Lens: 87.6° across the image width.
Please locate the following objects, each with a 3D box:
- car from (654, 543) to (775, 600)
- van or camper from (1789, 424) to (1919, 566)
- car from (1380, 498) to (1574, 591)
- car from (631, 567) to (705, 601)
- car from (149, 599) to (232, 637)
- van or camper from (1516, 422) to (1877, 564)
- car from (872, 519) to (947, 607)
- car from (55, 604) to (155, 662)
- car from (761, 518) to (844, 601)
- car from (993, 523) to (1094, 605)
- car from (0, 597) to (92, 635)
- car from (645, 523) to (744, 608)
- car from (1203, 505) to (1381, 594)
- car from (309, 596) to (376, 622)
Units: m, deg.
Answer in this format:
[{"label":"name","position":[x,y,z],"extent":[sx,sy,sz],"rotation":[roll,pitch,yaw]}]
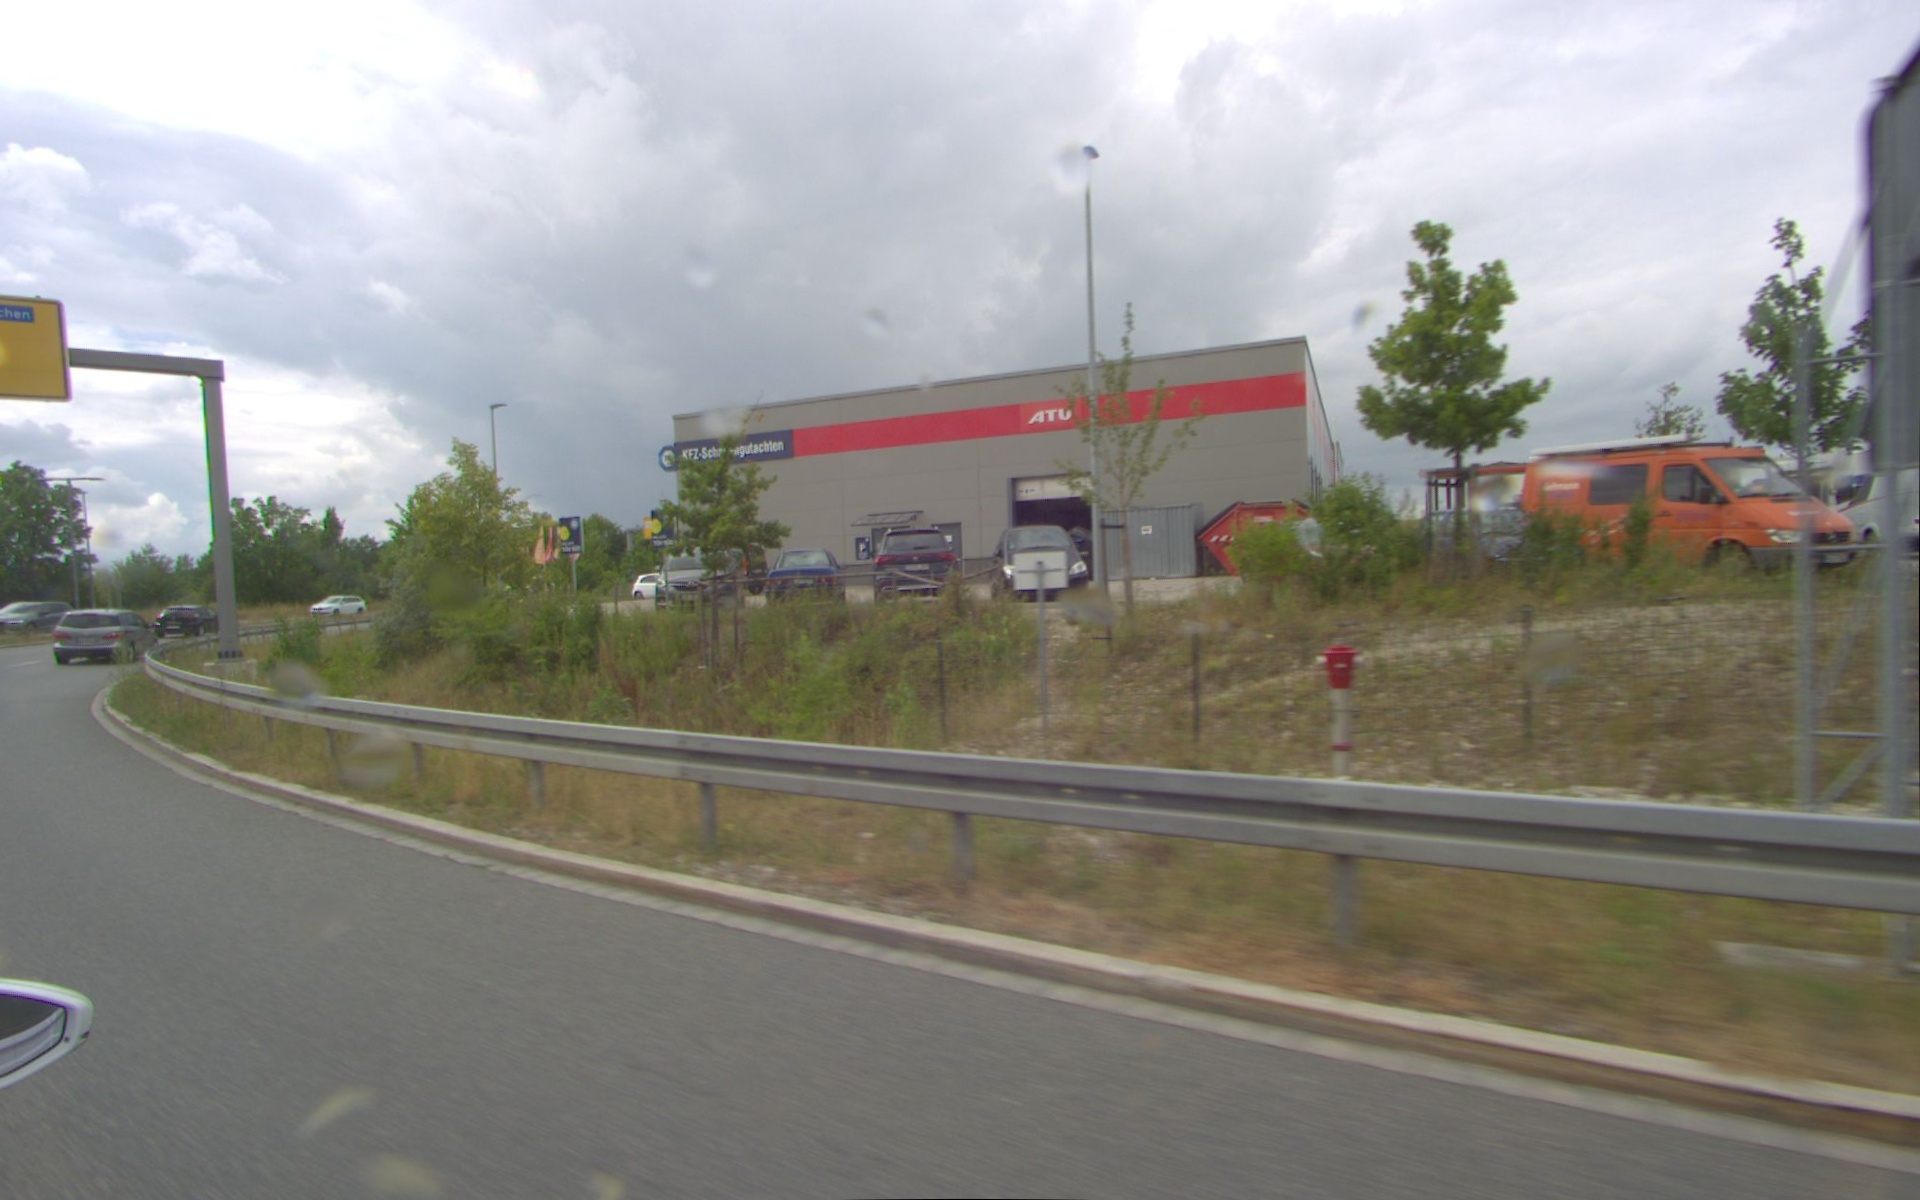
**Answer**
[{"label":"car","position":[-8.923,-1.036,36.426],"extent":[3.903,1.837,1.699],"rotation":[-2,4,22]},{"label":"van or camper","position":[24.293,-2.545,25.628],"extent":[2.450,3.222,7.714],"rotation":[-1,2,22]},{"label":"car","position":[8.795,-0.942,17.327],"extent":[1.472,1.401,3.304],"rotation":[-2,3,-4]},{"label":"car","position":[-15.918,-0.877,54.679],"extent":[3.568,1.559,1.638],"rotation":[-3,1,23]},{"label":"car","position":[-35.419,0.804,46.183],"extent":[1.842,1.626,3.727],"rotation":[-1,0,-18]},{"label":"van or camper","position":[12.042,-1.657,16.852],"extent":[1.782,2.025,4.661],"rotation":[-1,3,-18]},{"label":"car","position":[-1.121,-0.712,21.747],"extent":[1.489,1.674,3.735],"rotation":[0,-1,-4]},{"label":"car","position":[-26.404,0.985,31.057],"extent":[1.748,1.638,3.899],"rotation":[-1,0,-32]},{"label":"car","position":[-3.621,-0.873,23.530],"extent":[1.700,1.674,3.858],"rotation":[0,-1,-6]},{"label":"car","position":[1.677,-0.776,21.213],"extent":[1.659,1.540,3.791],"rotation":[-1,3,-2]},{"label":"car","position":[-42.058,0.695,45.519],"extent":[1.781,1.651,4.683],"rotation":[1,0,-10]},{"label":"car","position":[-6.326,-0.748,24.271],"extent":[1.770,1.805,4.169],"rotation":[0,-1,-7]},{"label":"car","position":[6.084,-0.854,18.945],"extent":[1.671,1.419,4.587],"rotation":[-2,0,-2]},{"label":"car","position":[-43.955,0.616,71.347],"extent":[1.687,1.656,4.264],"rotation":[-1,1,8]}]
